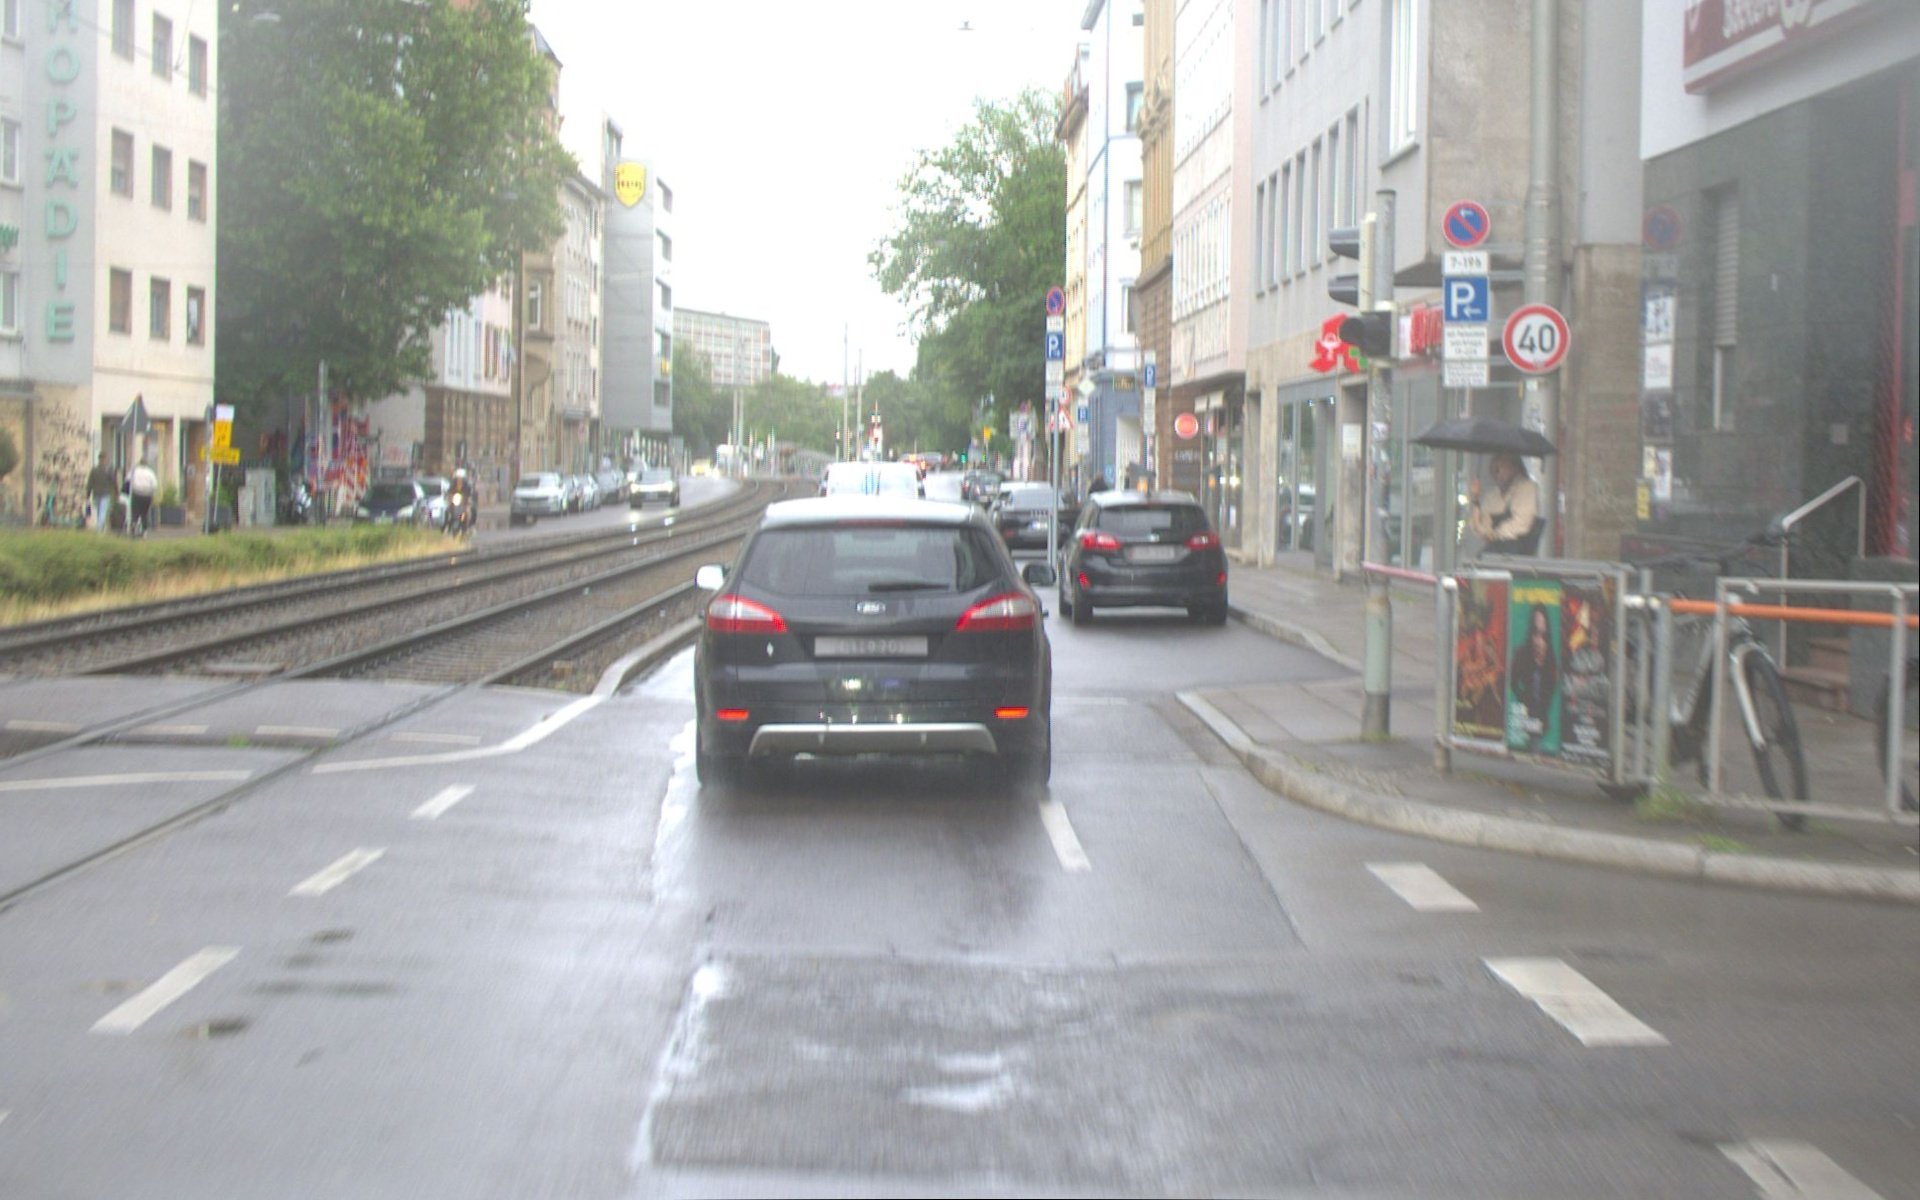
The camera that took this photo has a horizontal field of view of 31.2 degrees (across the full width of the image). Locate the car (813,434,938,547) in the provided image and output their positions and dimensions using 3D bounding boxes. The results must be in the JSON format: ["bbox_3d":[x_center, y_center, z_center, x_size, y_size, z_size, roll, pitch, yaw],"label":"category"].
[{"bbox_3d":[-1.372,-1.833,57.330,1.993,1.809,4.272,0,2,0],"label":"car"}]

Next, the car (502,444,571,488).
[{"bbox_3d":[-15.482,-4.921,125.845,1.993,1.513,4.436,1,3,-1],"label":"car"}]

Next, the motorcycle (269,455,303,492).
[{"bbox_3d":[-19.719,-3.708,100.605,0.639,1.029,2.120,1,3,-2],"label":"motorcycle"}]

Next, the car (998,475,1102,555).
[{"bbox_3d":[1.805,-1.757,70.272,1.993,1.588,4.572,0,2,0],"label":"car"}]

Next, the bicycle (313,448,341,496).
[{"bbox_3d":[-16.517,-3.353,89.738,0.590,1.222,2.404,1,2,-8],"label":"bicycle"}]

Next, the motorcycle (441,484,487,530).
[{"bbox_3d":[-11.595,-2.180,80.413,0.742,1.056,1.932,1,2,1],"label":"motorcycle"}]

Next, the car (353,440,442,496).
[{"bbox_3d":[-15.112,-3.573,92.572,1.744,1.463,4.221,0,3,-1],"label":"car"}]

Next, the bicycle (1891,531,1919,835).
[{"bbox_3d":[4.397,0.354,12.556,0.576,1.153,1.956,0,3,-37],"label":"bicycle"}]

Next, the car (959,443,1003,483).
[{"bbox_3d":[0.840,-5.535,138.237,1.642,1.510,4.040,1,3,-1],"label":"car"}]

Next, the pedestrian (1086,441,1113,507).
[{"bbox_3d":[3.959,-3.583,97.621,0.661,1.845,0.821,1,3,-1],"label":"pedestrian"}]

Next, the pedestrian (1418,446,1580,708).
[{"bbox_3d":[3.314,-0.155,21.172,0.659,1.576,0.780,0,2,-22],"label":"pedestrian"}]

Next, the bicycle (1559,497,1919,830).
[{"bbox_3d":[3.282,0.222,14.287,0.497,1.254,1.957,0,2,-25],"label":"bicycle"}]

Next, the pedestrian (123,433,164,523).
[{"bbox_3d":[-17.397,-2.605,73.259,0.678,1.889,0.743,1,2,-1],"label":"pedestrian"}]

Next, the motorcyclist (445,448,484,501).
[{"bbox_3d":[-11.575,-2.923,80.292,0.741,1.213,0.970,1,2,1],"label":"motorcyclist"}]

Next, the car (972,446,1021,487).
[{"bbox_3d":[1.409,-5.178,133.506,1.738,1.483,4.001,1,3,-1],"label":"car"}]

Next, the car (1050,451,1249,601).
[{"bbox_3d":[2.080,-0.862,38.812,1.993,1.588,4.272,0,2,0],"label":"car"}]

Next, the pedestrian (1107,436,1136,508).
[{"bbox_3d":[4.585,-3.647,97.783,0.736,2.006,0.821,1,3,-1],"label":"pedestrian"}]

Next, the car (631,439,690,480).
[{"bbox_3d":[-12.013,-5.636,138.141,1.993,1.514,4.444,1,1,0],"label":"car"}]

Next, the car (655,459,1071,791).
[{"bbox_3d":[-0.472,0.049,18.652,1.993,1.588,4.272,0,2,0],"label":"car"}]

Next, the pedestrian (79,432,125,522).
[{"bbox_3d":[-18.290,-2.621,73.293,0.727,1.889,0.983,1,2,-1],"label":"pedestrian"}]

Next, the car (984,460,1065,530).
[{"bbox_3d":[1.502,-2.522,81.697,1.746,1.517,4.356,1,3,-1],"label":"car"}]
